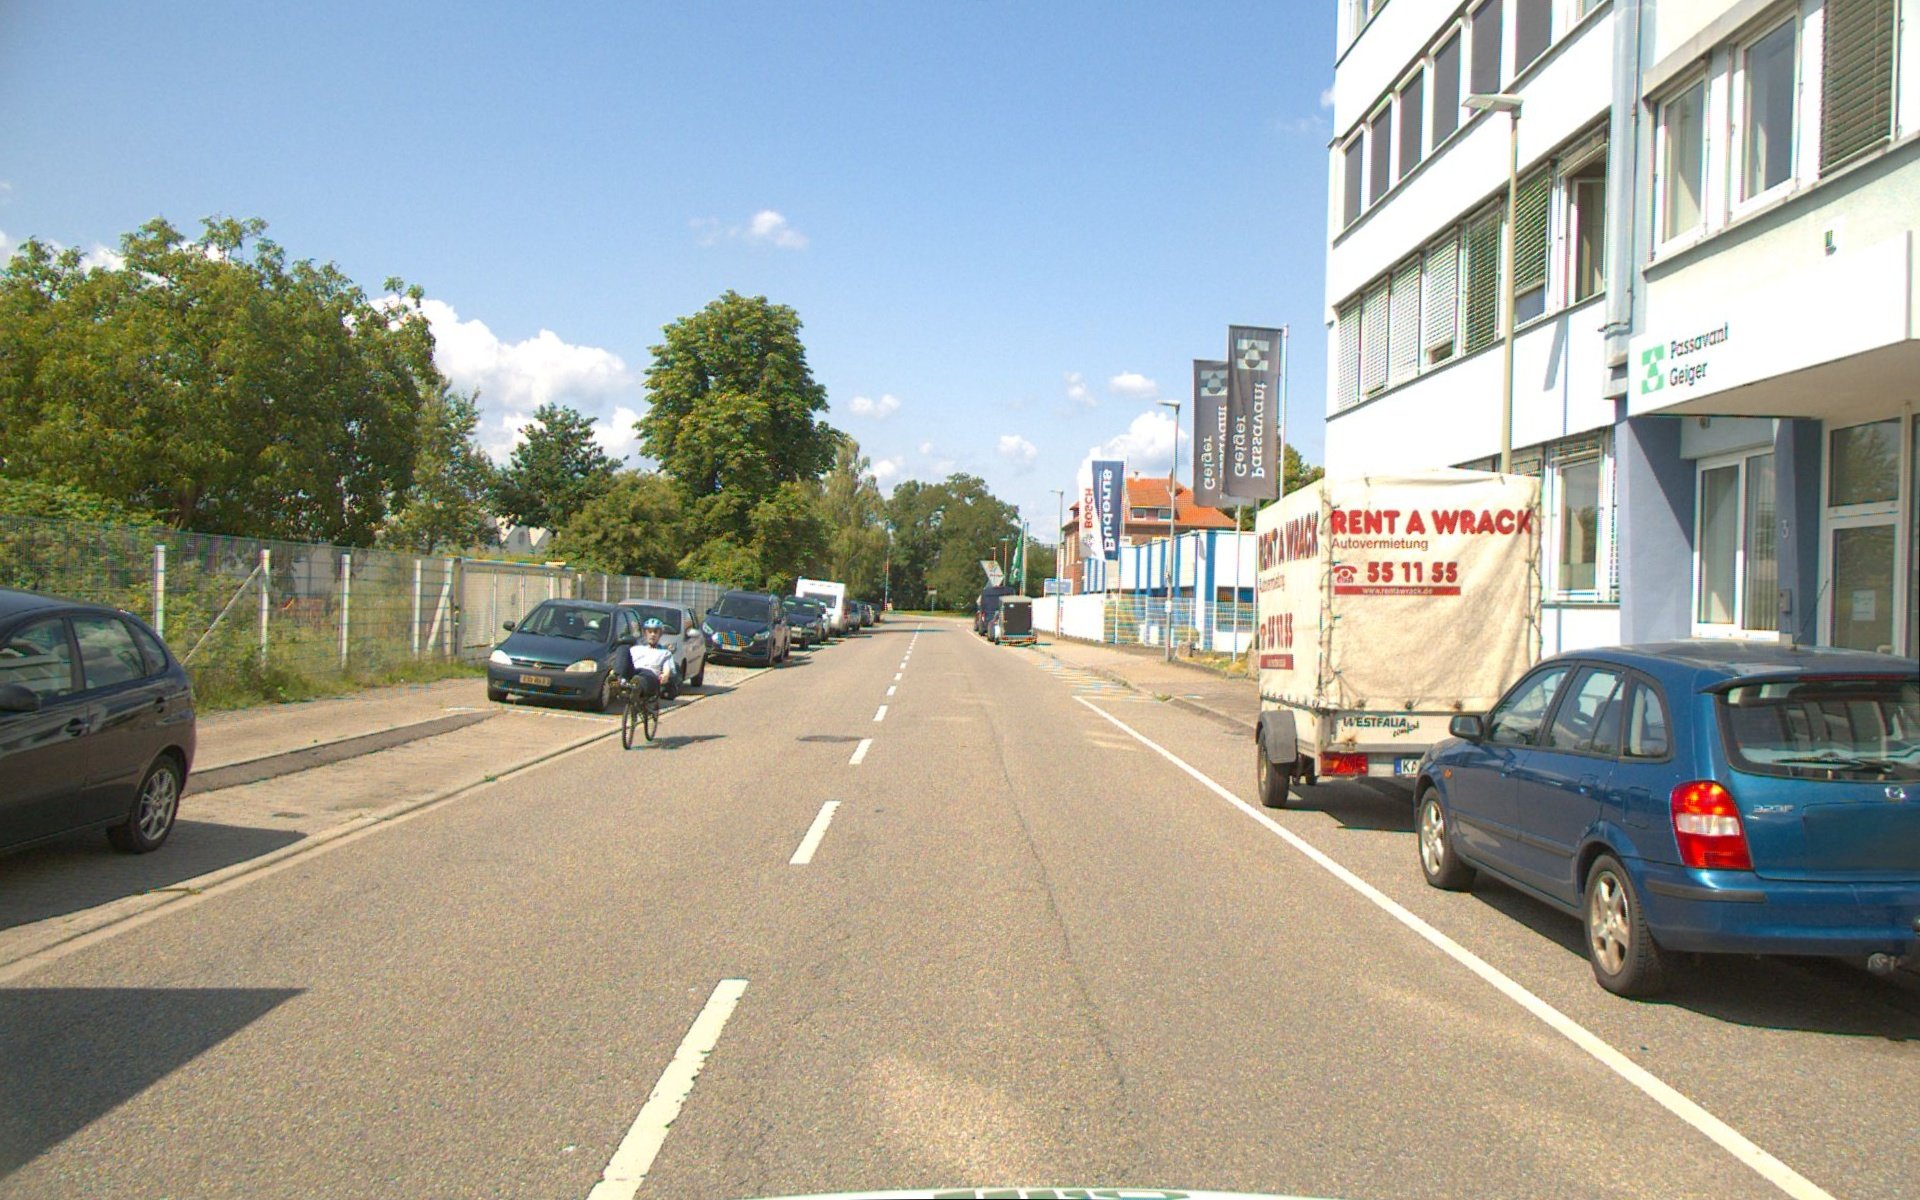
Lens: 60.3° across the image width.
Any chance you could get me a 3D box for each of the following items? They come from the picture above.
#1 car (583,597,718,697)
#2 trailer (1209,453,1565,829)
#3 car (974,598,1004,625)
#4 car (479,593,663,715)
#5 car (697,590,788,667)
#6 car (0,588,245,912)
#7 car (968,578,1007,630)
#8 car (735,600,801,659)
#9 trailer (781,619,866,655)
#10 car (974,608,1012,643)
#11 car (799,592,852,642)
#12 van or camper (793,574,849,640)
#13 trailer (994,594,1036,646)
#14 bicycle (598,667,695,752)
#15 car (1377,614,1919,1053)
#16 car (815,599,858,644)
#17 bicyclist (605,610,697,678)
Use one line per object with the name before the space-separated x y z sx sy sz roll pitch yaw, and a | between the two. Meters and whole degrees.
car | -5.257 0.755 28.484 1.583 1.509 3.709 4 0 -1
trailer | 3.379 0.284 14.147 1.830 2.598 5.073 1 0 2
car | 1.853 0.727 105.669 1.788 1.693 4.555 1 0 -1
car | -5.446 0.710 23.629 1.537 1.423 3.799 7 0 1
car | -5.407 0.686 41.653 1.765 1.780 4.711 1 0 -2
car | -5.335 0.706 8.426 1.586 1.454 3.826 4 0 0
car | 1.510 0.199 93.264 1.898 2.796 6.153 1 0 -1
car | -5.433 0.808 47.095 1.545 1.539 4.199 2 0 -3
trailer | -4.570 1.232 56.450 2.225 0.898 7.131 6 0 0
car | 1.489 1.160 75.987 1.540 1.534 4.131 2 0 -1
car | -5.230 0.653 64.760 1.790 1.825 4.734 1 0 -2
van or camper | -6.647 0.321 79.922 2.218 2.852 6.830 5 0 -3
trailer | 2.297 0.838 69.581 1.569 2.073 2.740 2 0 -2
bicycle | -3.355 1.159 17.881 0.575 0.754 2.125 1 0 1
car | 3.518 0.892 8.274 1.683 1.569 4.402 3 -1 0
car | -5.306 0.893 71.256 1.651 1.721 4.441 6 0 -4
bicyclist | -3.315 0.455 17.880 0.554 0.642 1.858 3 0 2
